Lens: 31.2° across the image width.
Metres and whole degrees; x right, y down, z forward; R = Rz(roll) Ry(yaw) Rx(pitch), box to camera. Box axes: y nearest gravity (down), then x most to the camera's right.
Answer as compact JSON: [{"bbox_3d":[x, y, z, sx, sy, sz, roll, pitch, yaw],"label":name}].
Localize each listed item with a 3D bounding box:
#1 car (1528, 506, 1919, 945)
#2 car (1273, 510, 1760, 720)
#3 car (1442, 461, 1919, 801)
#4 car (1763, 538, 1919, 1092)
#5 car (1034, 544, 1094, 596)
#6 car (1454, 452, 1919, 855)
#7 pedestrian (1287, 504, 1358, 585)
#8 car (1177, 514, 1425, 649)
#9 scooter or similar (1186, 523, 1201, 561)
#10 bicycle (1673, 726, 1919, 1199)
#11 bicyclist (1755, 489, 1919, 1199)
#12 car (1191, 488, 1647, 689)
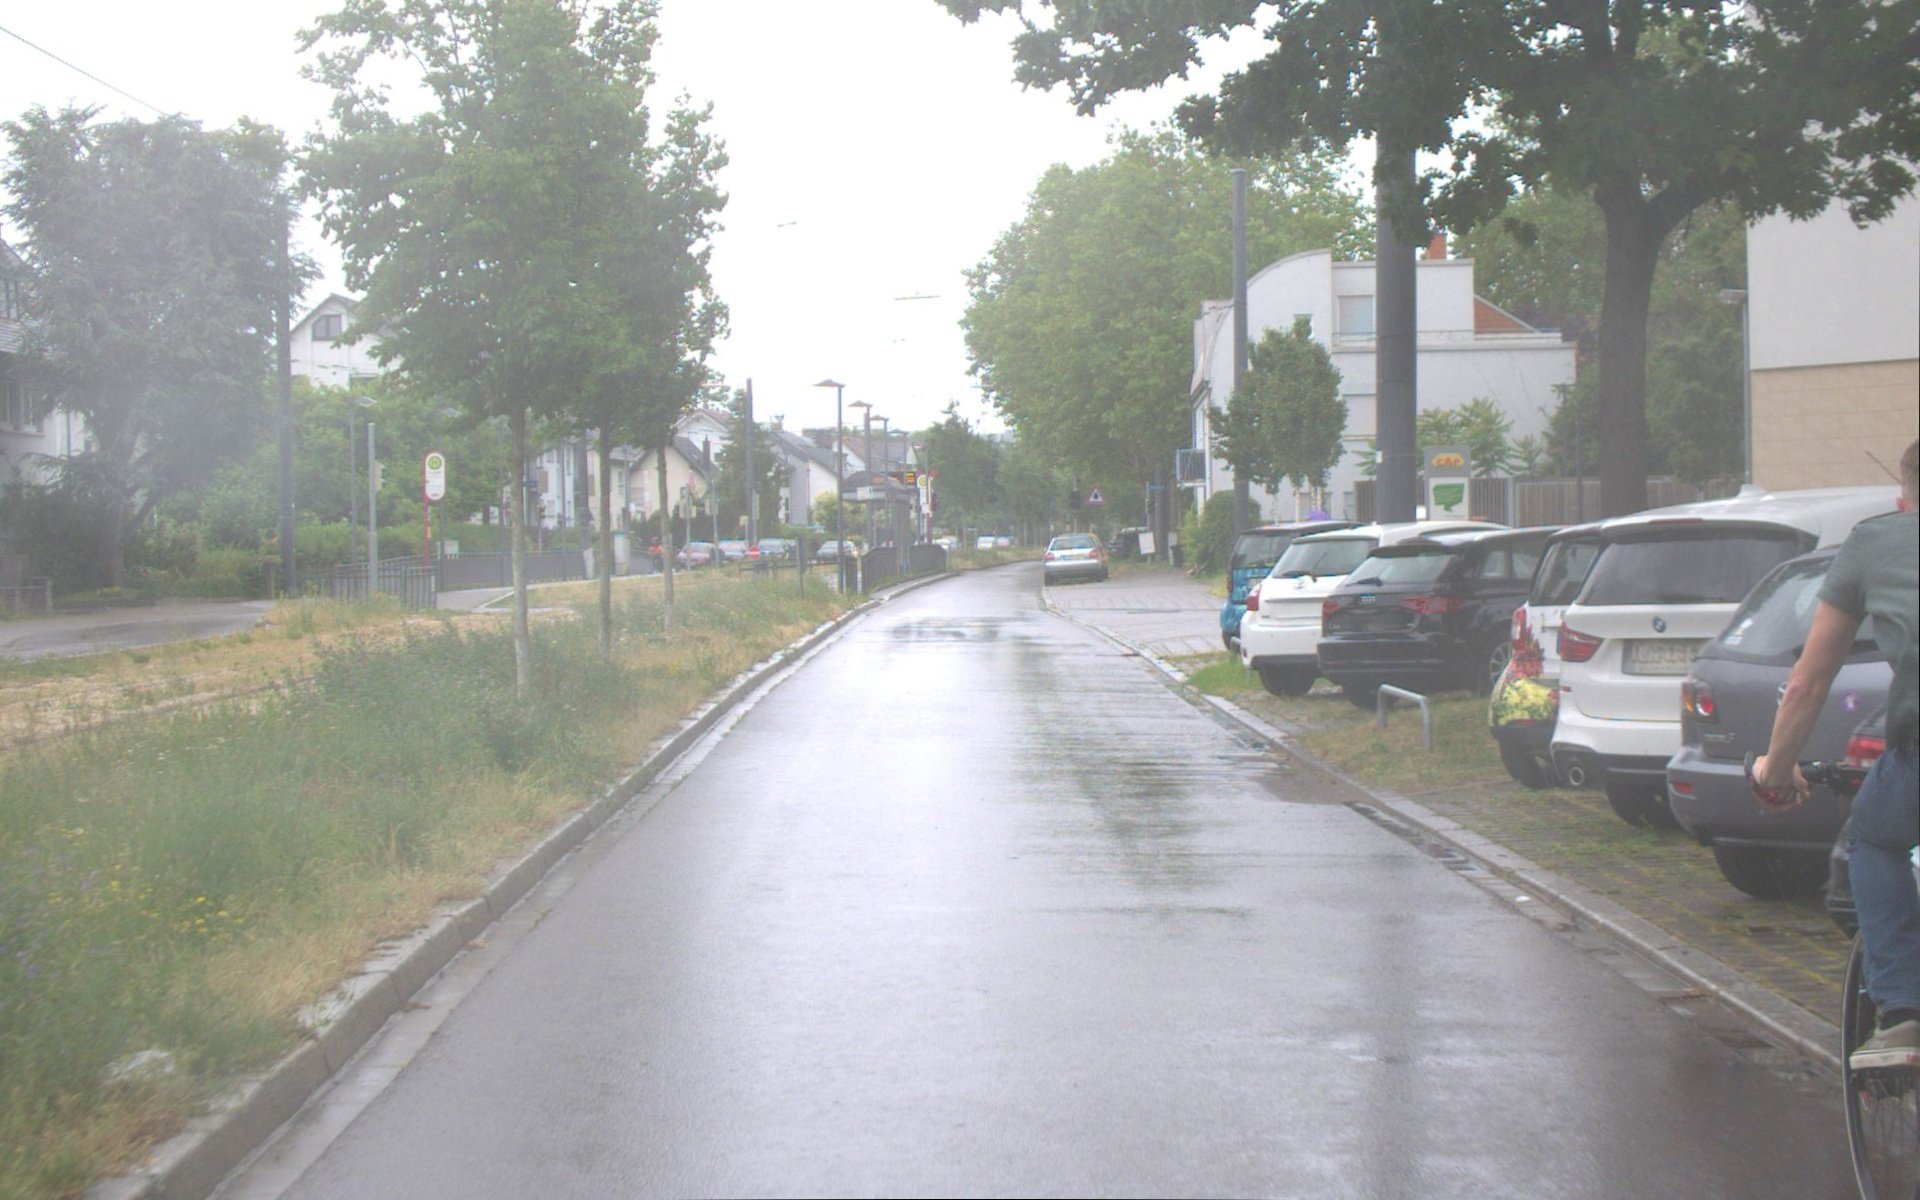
[{"bbox_3d":[4.533,0.312,13.679,4.447,1.405,1.768,-5,3,-35],"label":"car"},{"bbox_3d":[4.668,0.085,28.602,3.933,1.426,1.684,-5,3,-37],"label":"car"},{"bbox_3d":[4.963,0.088,20.196,4.173,1.666,1.684,-5,3,-37],"label":"car"},{"bbox_3d":[4.536,0.427,9.912,4.447,1.423,1.684,-5,3,-34],"label":"car"},{"bbox_3d":[3.110,-0.886,101.844,1.650,1.400,4.649,-4,0,2],"label":"car"},{"bbox_3d":[4.687,0.130,17.118,4.448,1.666,1.812,-5,3,-39],"label":"car"},{"bbox_3d":[6.811,-1.038,64.596,0.835,1.512,1.095,0,0,-29],"label":"pedestrian"},{"bbox_3d":[4.110,-0.232,41.341,2.558,1.542,1.602,-2,1,-40],"label":"car"},{"bbox_3d":[6.790,-1.673,99.891,0.333,1.081,1.395,0,0,7],"label":"scooter or similar"},{"bbox_3d":[1.949,0.834,6.722,0.536,1.089,1.949,0,0,-5],"label":"bicycle"},{"bbox_3d":[1.925,0.574,6.634,0.534,1.554,0.773,0,0,-6],"label":"bicyclist"},{"bbox_3d":[4.294,-0.140,31.841,4.174,1.542,1.764,-5,3,-40],"label":"car"}]
